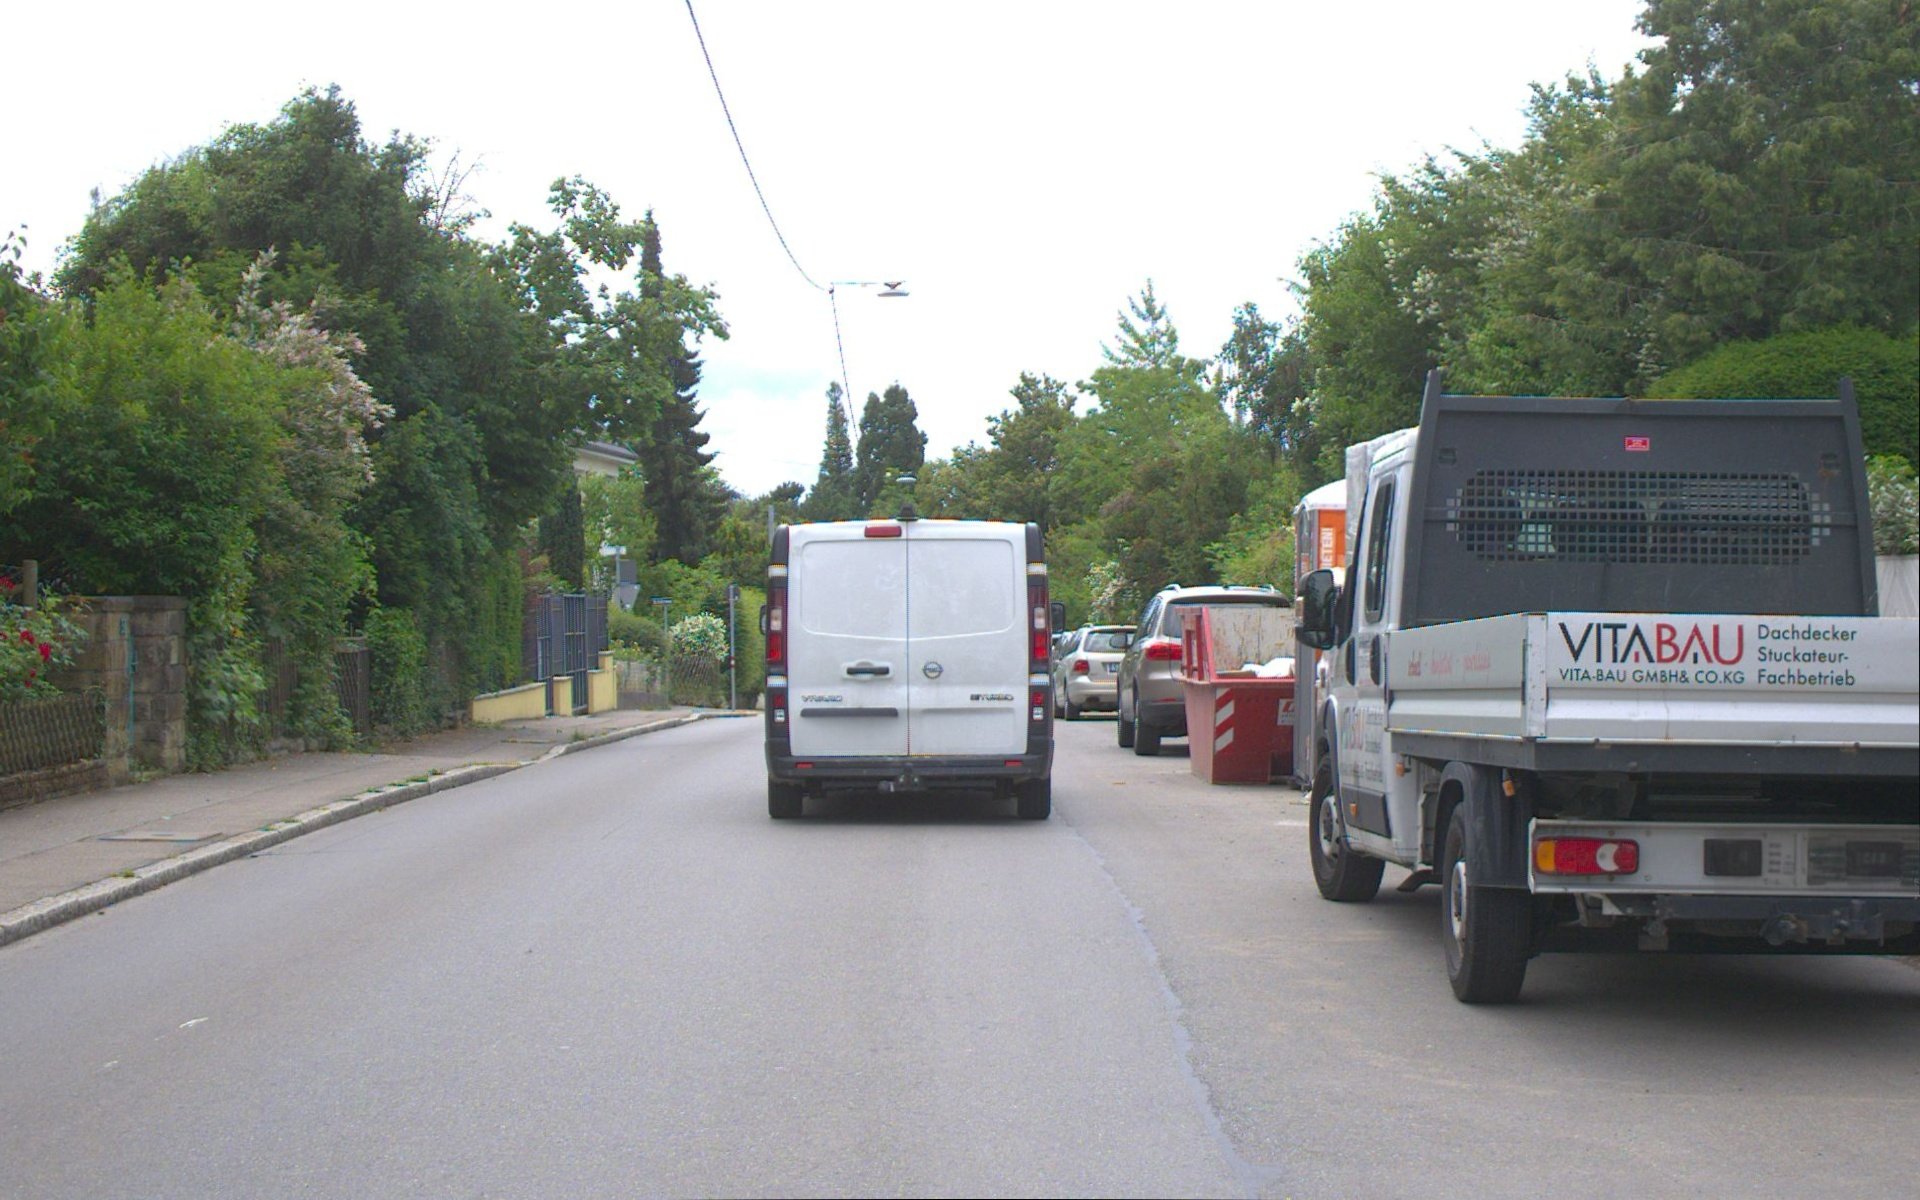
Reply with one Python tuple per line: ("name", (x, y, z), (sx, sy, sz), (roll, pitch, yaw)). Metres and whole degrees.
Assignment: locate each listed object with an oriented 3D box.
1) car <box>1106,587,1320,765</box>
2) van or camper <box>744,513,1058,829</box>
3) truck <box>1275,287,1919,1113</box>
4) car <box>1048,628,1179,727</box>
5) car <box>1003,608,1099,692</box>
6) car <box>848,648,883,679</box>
("car", (2.505, 0.744, 34.890), (1.744, 1.669, 4.185), (-1, -1, -1))
("van or camper", (-0.409, 0.488, 23.748), (1.939, 1.947, 4.765), (0, -1, -1))
("truck", (2.767, 0.307, 14.019), (2.187, 2.463, 7.430), (1, 0, -1))
("car", (2.345, 1.180, 53.431), (1.744, 1.442, 4.259), (-1, -1, -1))
("car", (1.826, 1.012, 70.140), (1.744, 1.624, 4.259), (-1, -1, -1))
("car", (-4.858, 3.279, 177.631), (1.744, 1.520, 4.012), (-1, -1, -1))
